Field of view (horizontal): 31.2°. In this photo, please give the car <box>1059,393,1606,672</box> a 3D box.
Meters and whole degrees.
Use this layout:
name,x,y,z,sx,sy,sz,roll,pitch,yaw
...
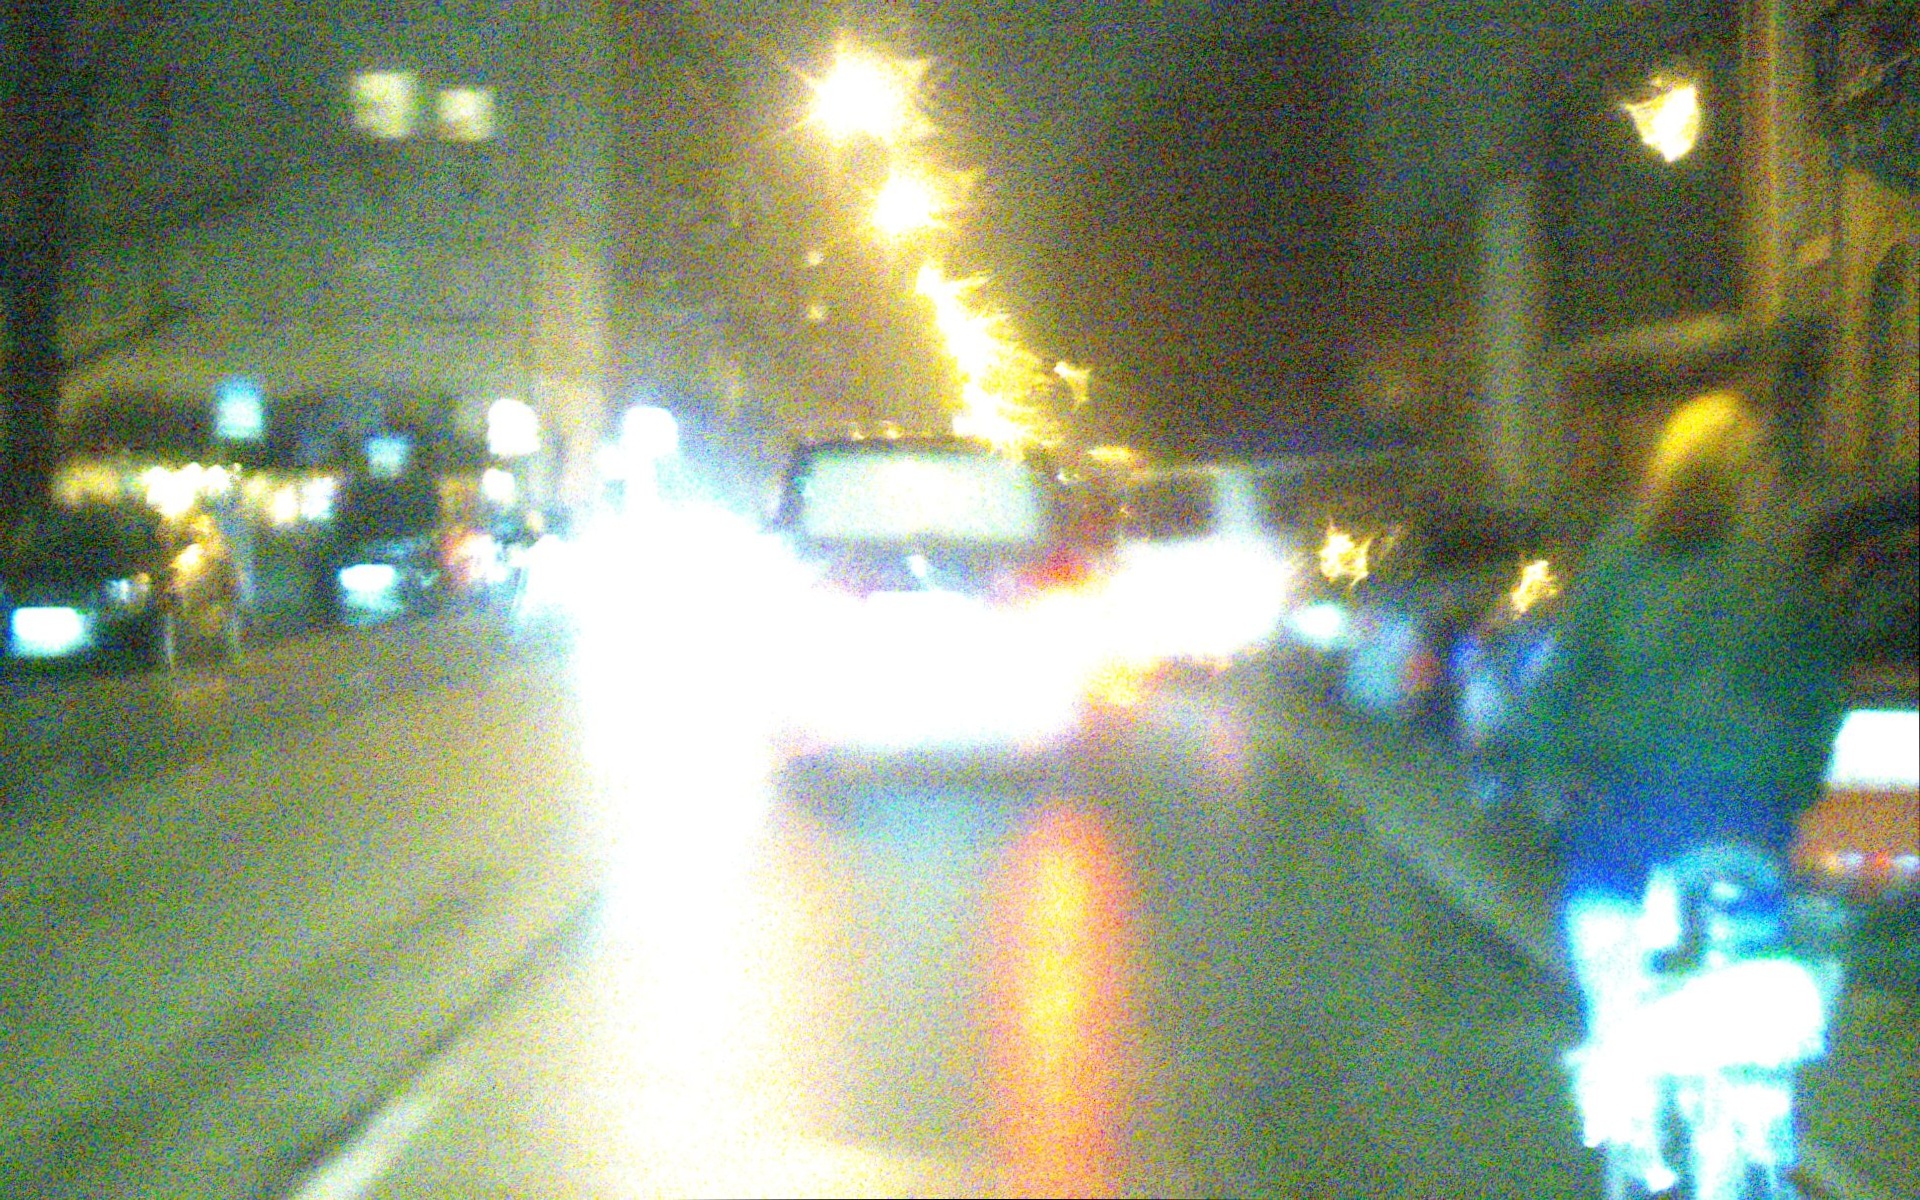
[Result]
name,x,y,z,sx,sy,sz,roll,pitch,yaw
car,3.590,-0.695,32.617,4.995,2.383,2.139,-4,3,-37

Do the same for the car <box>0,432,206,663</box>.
name,x,y,z,sx,sy,sz,roll,pitch,yaw
car,-8.118,-0.512,31.599,1.990,1.965,4.303,-1,2,-17

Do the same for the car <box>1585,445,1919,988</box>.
name,x,y,z,sx,sy,sz,roll,pitch,yaw
car,4.208,0.249,12.055,4.174,1.639,1.661,-4,3,-40

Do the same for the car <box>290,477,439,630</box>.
name,x,y,z,sx,sy,sz,roll,pitch,yaw
car,-8.083,-0.657,46.471,1.724,1.965,3.729,-1,2,-14

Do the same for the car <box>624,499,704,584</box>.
name,x,y,z,sx,sy,sz,roll,pitch,yaw
car,-7.055,-1.425,82.191,1.724,1.965,4.222,0,2,-3

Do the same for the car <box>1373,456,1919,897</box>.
name,x,y,z,sx,sy,sz,roll,pitch,yaw
car,4.070,0.211,14.749,4.171,1.639,1.771,-3,2,-20

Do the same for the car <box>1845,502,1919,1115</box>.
name,x,y,z,sx,sy,sz,roll,pitch,yaw
car,4.337,0.409,9.002,4.173,1.470,1.661,-4,3,-37

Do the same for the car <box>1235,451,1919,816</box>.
name,x,y,z,sx,sy,sz,roll,pitch,yaw
car,3.726,0.097,17.907,4.171,1.639,1.771,-3,2,-20

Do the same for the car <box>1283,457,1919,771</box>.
name,x,y,z,sx,sy,sz,roll,pitch,yaw
car,4.132,0.013,20.913,4.173,1.639,1.770,-4,3,-37

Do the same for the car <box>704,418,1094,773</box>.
name,x,y,z,sx,sy,sz,roll,pitch,yaw
car,-0.314,-0.084,21.527,2.168,1.965,4.302,-1,2,1

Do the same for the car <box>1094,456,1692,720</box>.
name,x,y,z,sx,sy,sz,roll,pitch,yaw
car,3.161,-0.142,24.703,4.173,1.639,1.770,-4,3,-37

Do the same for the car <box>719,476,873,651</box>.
name,x,y,z,sx,sy,sz,roll,pitch,yaw
car,-1.947,-0.470,40.763,1.724,1.965,4.222,0,2,-3

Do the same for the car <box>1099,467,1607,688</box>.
name,x,y,z,sx,sy,sz,roll,pitch,yaw
car,3.377,-0.233,29.181,4.173,1.639,1.770,-4,3,-37
